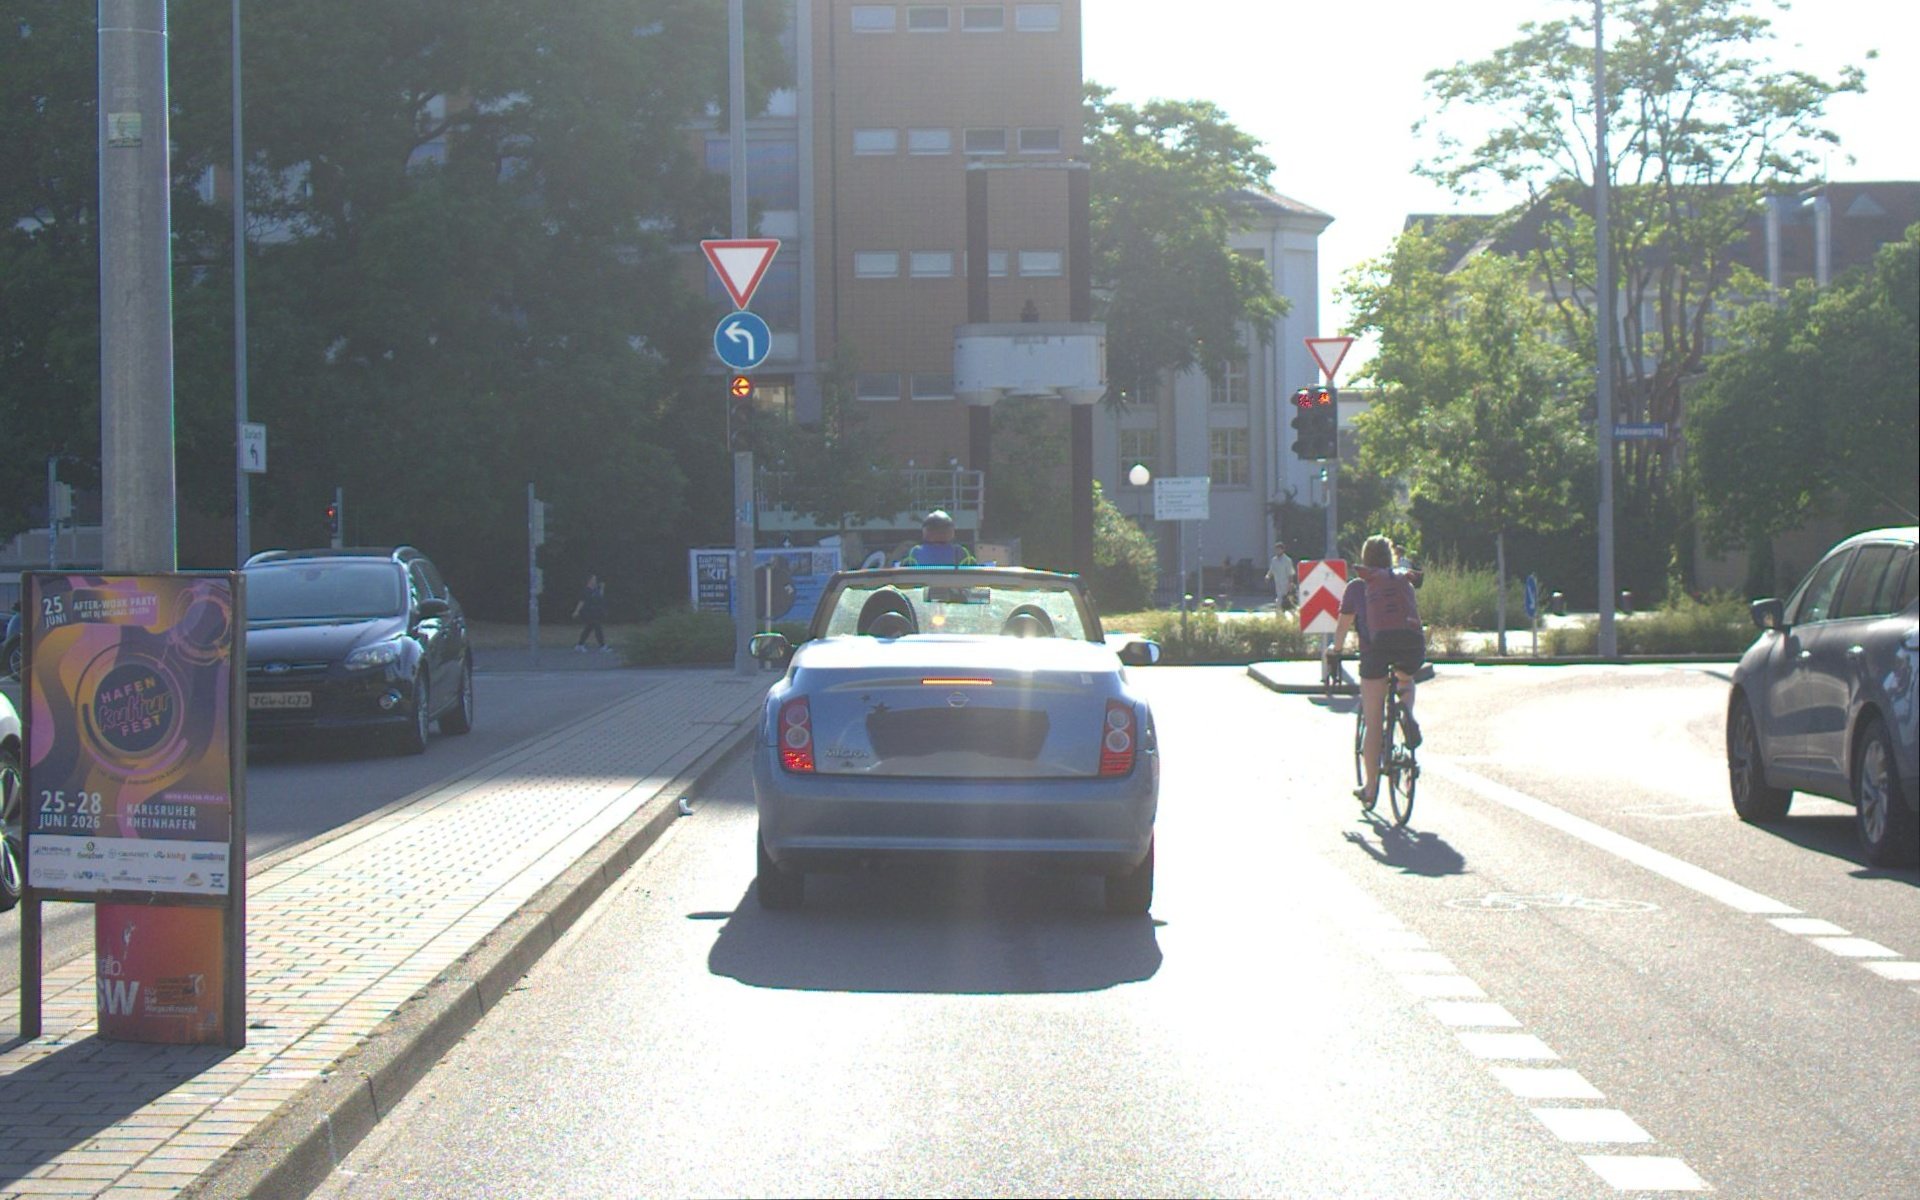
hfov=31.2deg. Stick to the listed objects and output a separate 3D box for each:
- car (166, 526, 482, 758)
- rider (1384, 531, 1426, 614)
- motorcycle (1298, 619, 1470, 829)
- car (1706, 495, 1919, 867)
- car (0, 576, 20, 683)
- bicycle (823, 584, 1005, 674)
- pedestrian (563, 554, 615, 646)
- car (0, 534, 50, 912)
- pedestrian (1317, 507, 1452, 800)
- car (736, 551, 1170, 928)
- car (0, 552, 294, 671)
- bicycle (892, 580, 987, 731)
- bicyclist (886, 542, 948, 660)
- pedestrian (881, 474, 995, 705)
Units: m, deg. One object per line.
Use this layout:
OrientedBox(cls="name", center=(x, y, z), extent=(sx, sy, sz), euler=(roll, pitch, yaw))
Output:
OrientedBox(cls="car", center=(-4.610, 0.258, 25.434), extent=(1.799, 1.525, 4.001), euler=(-2, 1, -4))
OrientedBox(cls="rider", center=(8.631, -0.527, 66.654), extent=(0.752, 1.593, 0.589), euler=(1, 0, 12))
OrientedBox(cls="motorcycle", center=(2.359, 0.664, 19.380), extent=(0.613, 1.094, 2.360), euler=(1, 0, -1))
OrientedBox(cls="car", center=(5.258, 0.390, 17.775), extent=(1.831, 1.683, 4.368), euler=(1, 0, 0))
OrientedBox(cls="car", center=(-15.874, 0.453, 50.508), extent=(3.639, 1.555, 1.600), euler=(-1, 1, 5))
OrientedBox(cls="bicycle", center=(-0.622, 0.398, 47.048), extent=(2.407, 1.187, 0.609), euler=(1, 0, 7))
OrientedBox(cls="pedestrian", center=(-7.539, -0.002, 69.906), extent=(0.870, 1.862, 0.660), euler=(1, 0, 11))
OrientedBox(cls="car", center=(-4.760, 0.539, 12.651), extent=(1.799, 1.525, 4.000), euler=(-2, 1, -1))
OrientedBox(cls="pedestrian", center=(2.379, 0.295, 19.335), extent=(0.587, 1.593, 1.025), euler=(1, 0, -1))
OrientedBox(cls="car", center=(-0.095, 0.550, 15.426), extent=(1.660, 1.436, 4.155), euler=(1, 0, -2))
OrientedBox(cls="car", center=(-11.105, 0.146, 46.799), extent=(3.639, 1.555, 1.649), euler=(-1, 1, 10))
OrientedBox(cls="bicycle", center=(-0.152, 0.444, 28.476), extent=(0.608, 1.187, 2.414), euler=(1, 0, 4))
OrientedBox(cls="bicyclist", center=(-0.582, 0.014, 47.052), extent=(0.752, 1.593, 0.589), euler=(1, 0, 7))
OrientedBox(cls="pedestrian", center=(-0.173, -0.082, 28.356), extent=(0.833, 1.862, 0.921), euler=(1, 0, 5))
